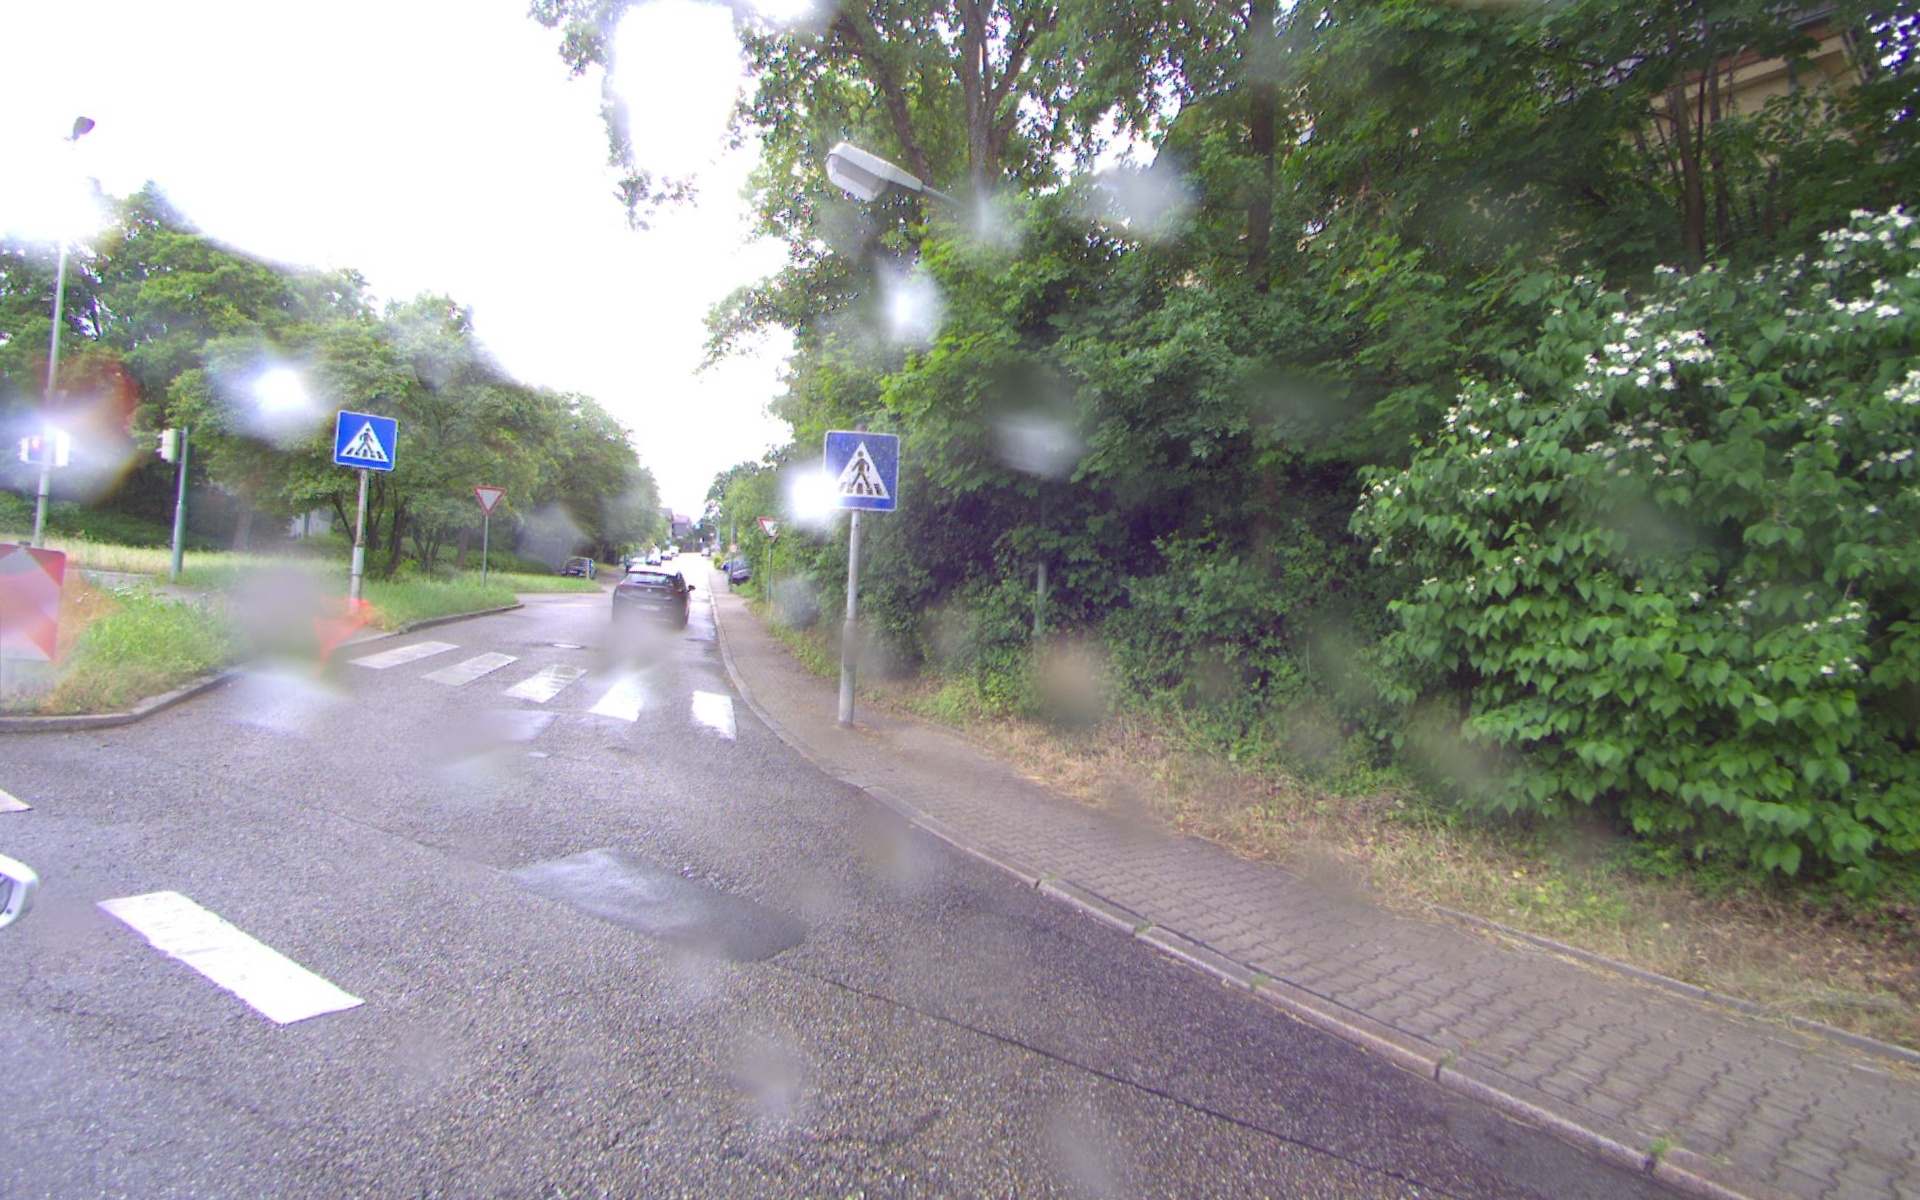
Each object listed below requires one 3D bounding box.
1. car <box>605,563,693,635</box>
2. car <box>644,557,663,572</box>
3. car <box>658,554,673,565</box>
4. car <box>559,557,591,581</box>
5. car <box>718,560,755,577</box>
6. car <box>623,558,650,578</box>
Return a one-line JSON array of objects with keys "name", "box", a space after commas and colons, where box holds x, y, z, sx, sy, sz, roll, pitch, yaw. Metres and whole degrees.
[{"name": "car", "box": [-8.019, -0.090, 26.240, 1.789, 1.461, 4.148, 6, 1, -14]}, {"name": "car", "box": [-37.703, -4.389, 123.642, 1.968, 1.463, 4.278, 7, -2, -19]}, {"name": "car", "box": [-46.768, -6.397, 159.507, 1.877, 1.413, 4.151, 7, -2, -20]}, {"name": "car", "box": [-25.883, -2.061, 67.731, 1.651, 1.387, 3.477, 6, 0, -16]}, {"name": "car", "box": [-25.765, -3.653, 116.089, 3.939, 1.594, 1.766, 5, 1, -18]}, {"name": "car", "box": [-30.100, -2.994, 93.727, 1.874, 1.467, 4.285, 7, -2, -13]}]
